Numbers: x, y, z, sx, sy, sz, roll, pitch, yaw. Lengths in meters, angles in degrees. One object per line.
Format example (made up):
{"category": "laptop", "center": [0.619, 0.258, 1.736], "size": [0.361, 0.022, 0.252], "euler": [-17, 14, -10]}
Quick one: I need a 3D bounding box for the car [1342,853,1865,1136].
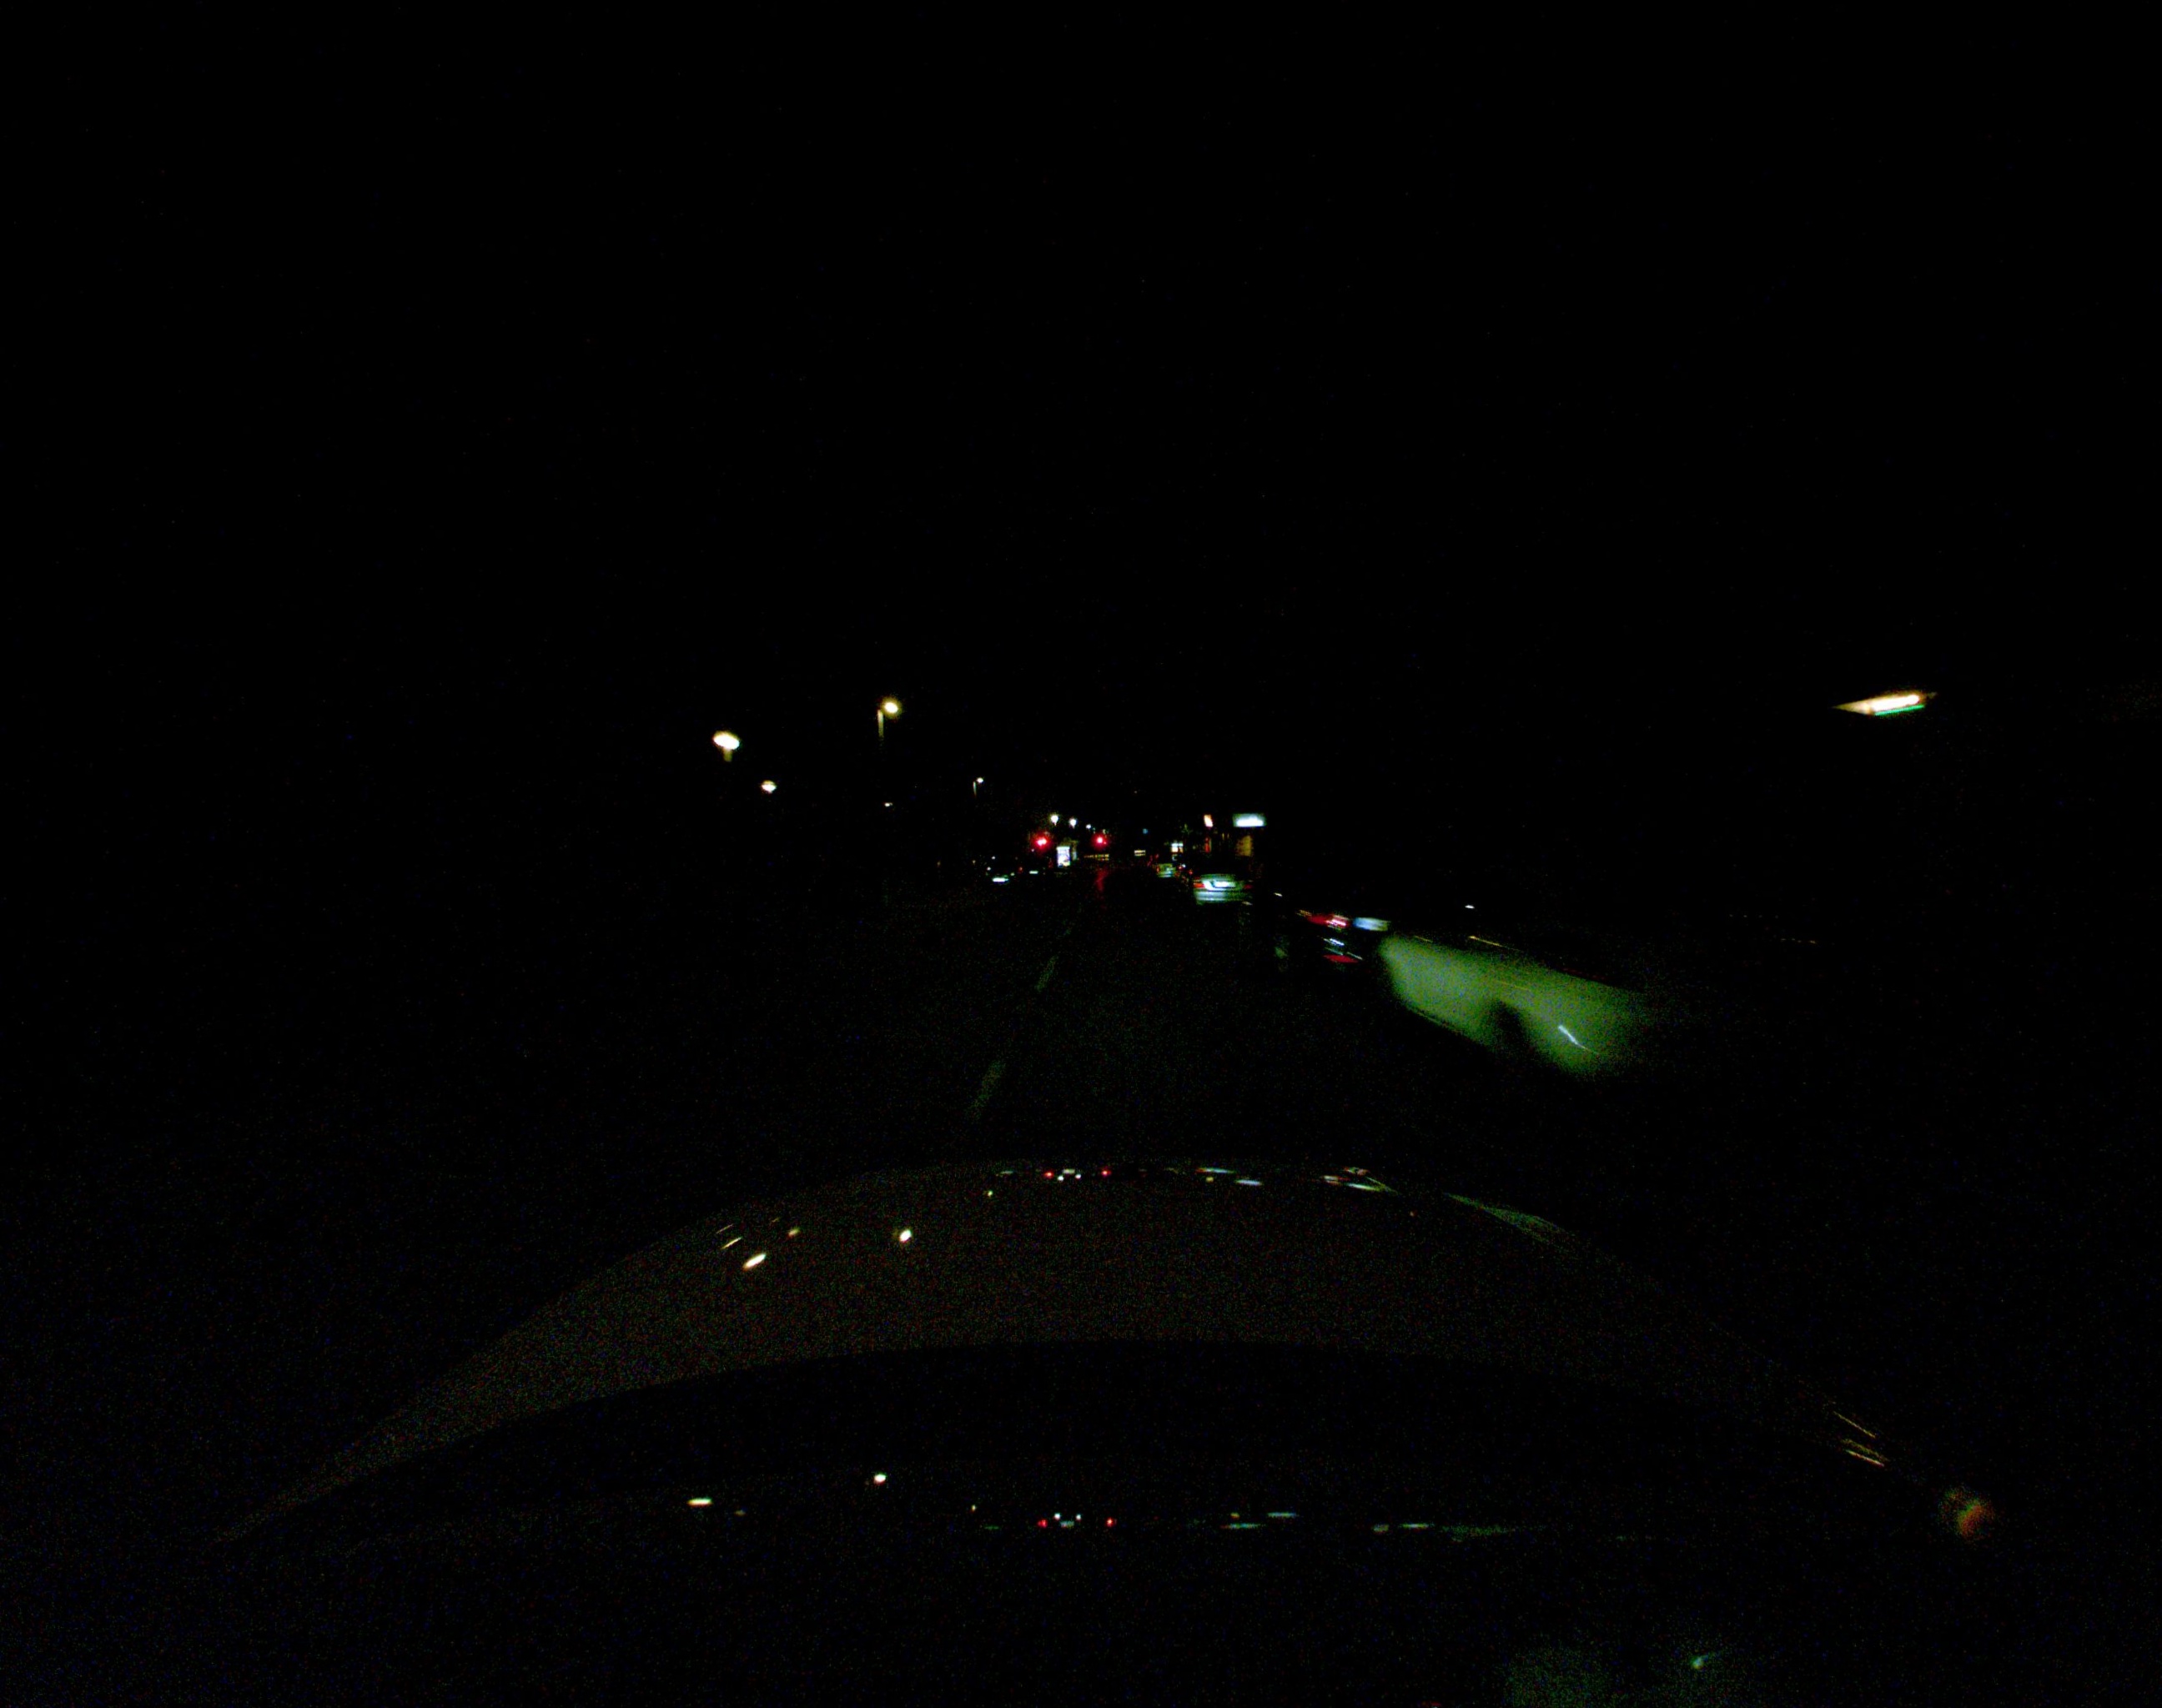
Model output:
{"category": "car", "center": [3.335, 0.736, 6.151], "size": [1.632, 1.466, 3.777], "euler": [0, 0, 2]}

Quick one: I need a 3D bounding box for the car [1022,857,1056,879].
{"category": "car", "center": [-2.818, 0.914, 55.110], "size": [1.683, 1.436, 4.134], "euler": [0, 0, 5]}

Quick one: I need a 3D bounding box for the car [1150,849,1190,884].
{"category": "car", "center": [4.598, 0.625, 42.715], "size": [1.779, 1.641, 4.383], "euler": [-3, 0, 3]}

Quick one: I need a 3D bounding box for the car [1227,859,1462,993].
{"category": "car", "center": [3.228, 0.784, 10.954], "size": [1.756, 1.416, 4.440], "euler": [0, 0, 1]}

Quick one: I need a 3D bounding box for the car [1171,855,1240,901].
{"category": "car", "center": [4.131, 0.770, 27.671], "size": [1.773, 1.437, 4.290], "euler": [0, 0, 1]}

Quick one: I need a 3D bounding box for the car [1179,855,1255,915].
{"category": "car", "center": [3.636, 0.776, 22.438], "size": [1.669, 1.447, 4.617], "euler": [-1, 0, 5]}

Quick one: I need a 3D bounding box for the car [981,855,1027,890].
{"category": "car", "center": [-3.544, 0.848, 37.843], "size": [1.685, 1.524, 3.692], "euler": [-1, -1, 1]}

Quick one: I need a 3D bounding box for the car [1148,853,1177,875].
{"category": "car", "center": [5.881, 0.699, 58.959], "size": [1.849, 1.442, 4.599], "euler": [-3, 0, 4]}
